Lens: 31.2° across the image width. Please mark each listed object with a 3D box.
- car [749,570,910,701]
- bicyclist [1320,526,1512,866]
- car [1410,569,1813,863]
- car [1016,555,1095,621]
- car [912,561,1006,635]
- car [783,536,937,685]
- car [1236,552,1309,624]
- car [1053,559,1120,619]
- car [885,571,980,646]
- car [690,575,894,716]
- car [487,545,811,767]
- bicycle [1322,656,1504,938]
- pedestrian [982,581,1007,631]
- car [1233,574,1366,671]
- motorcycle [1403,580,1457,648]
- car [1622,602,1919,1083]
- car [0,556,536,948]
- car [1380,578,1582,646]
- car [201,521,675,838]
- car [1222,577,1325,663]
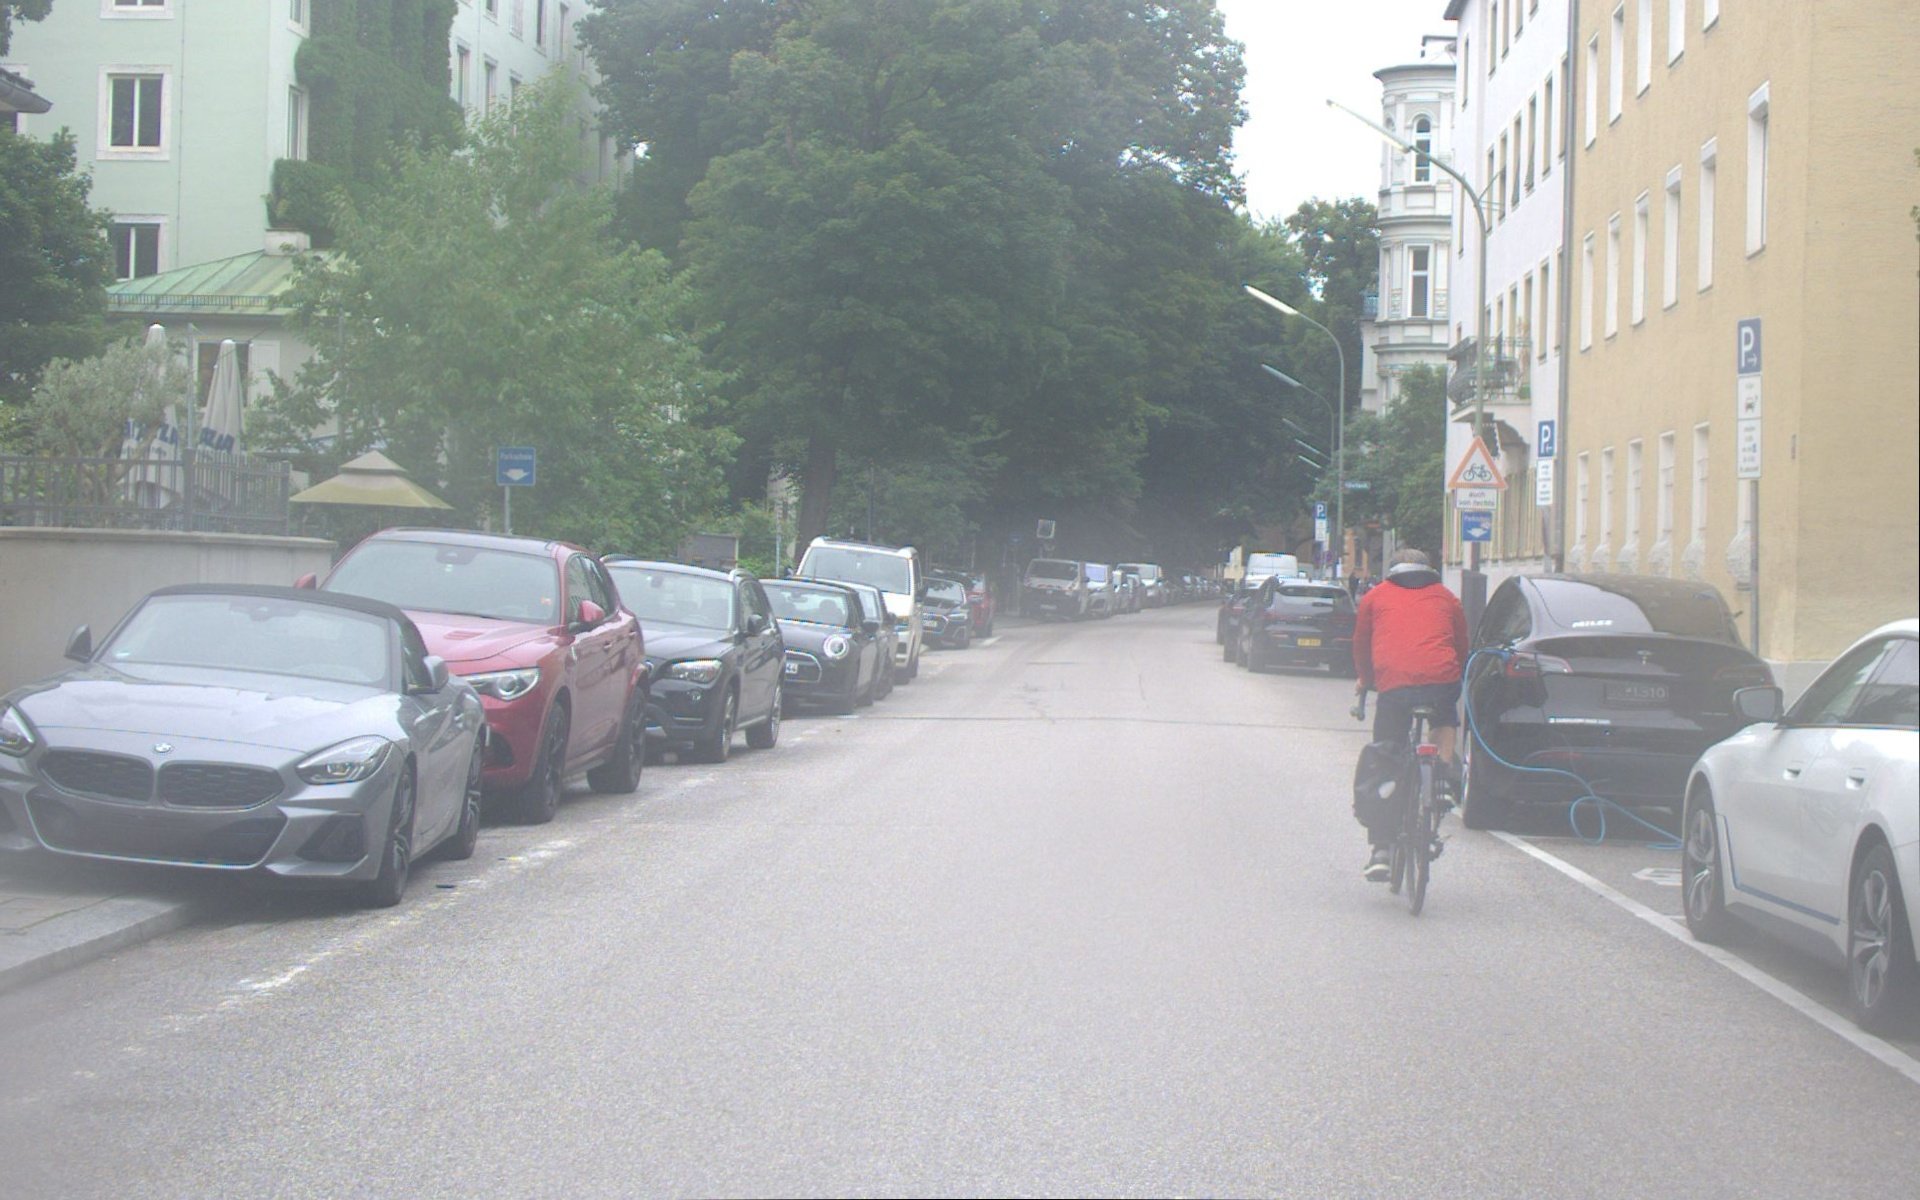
[{"bbox_3d":[-1.640,0.415,44.591,1.887,1.538,4.696,2,1,0],"label":"car"},{"bbox_3d":[2.078,0.425,15.776,0.754,1.478,0.981,3,0,5],"label":"bicyclist"},{"bbox_3d":[4.155,0.666,22.731,1.994,1.625,5.099,3,0,5],"label":"car"},{"bbox_3d":[3.060,-0.384,109.045,2.248,1.950,5.453,3,0,3],"label":"car"},{"bbox_3d":[-0.002,-0.060,81.041,1.887,1.585,4.527,3,0,3],"label":"car"},{"bbox_3d":[-1.415,0.127,50.560,1.966,1.983,5.152,3,0,1],"label":"car"},{"bbox_3d":[9.829,-0.364,108.456,2.204,2.201,4.854,0,0,4],"label":"car"},{"bbox_3d":[4.456,-0.383,120.681,2.184,1.950,5.166,3,0,3],"label":"car"},{"bbox_3d":[-0.543,0.150,71.322,1.807,1.397,4.924,3,0,1],"label":"car"},{"bbox_3d":[-1.869,0.485,39.507,1.859,1.539,4.187,0,0,4],"label":"car"},{"bbox_3d":[-2.483,0.417,28.651,1.846,1.602,4.742,3,0,4],"label":"car"},{"bbox_3d":[2.039,0.857,15.679,0.672,1.137,2.010,3,0,5],"label":"bicycle"},{"bbox_3d":[1.102,0.189,109.906,0.713,1.543,0.752,3,0,0],"label":"pedestrian"},{"bbox_3d":[5.801,0.354,59.303,1.860,1.571,4.899,1,1,1],"label":"car"},{"bbox_3d":[10.313,0.292,75.523,0.857,1.428,2.707,2,1,2],"label":"motorcycle"},{"bbox_3d":[4.040,0.808,13.189,1.993,1.455,4.957,3,0,0],"label":"car"},{"bbox_3d":[-3.291,0.598,16.371,1.896,1.513,4.655,3,0,0],"label":"car"},{"bbox_3d":[13.260,0.293,87.759,4.906,1.526,1.913,1,3,4],"label":"car"},{"bbox_3d":[-3.141,0.431,21.763,1.902,1.686,4.807,3,0,4],"label":"car"},{"bbox_3d":[5.873,0.351,64.747,1.839,1.526,4.415,1,1,5],"label":"car"}]
